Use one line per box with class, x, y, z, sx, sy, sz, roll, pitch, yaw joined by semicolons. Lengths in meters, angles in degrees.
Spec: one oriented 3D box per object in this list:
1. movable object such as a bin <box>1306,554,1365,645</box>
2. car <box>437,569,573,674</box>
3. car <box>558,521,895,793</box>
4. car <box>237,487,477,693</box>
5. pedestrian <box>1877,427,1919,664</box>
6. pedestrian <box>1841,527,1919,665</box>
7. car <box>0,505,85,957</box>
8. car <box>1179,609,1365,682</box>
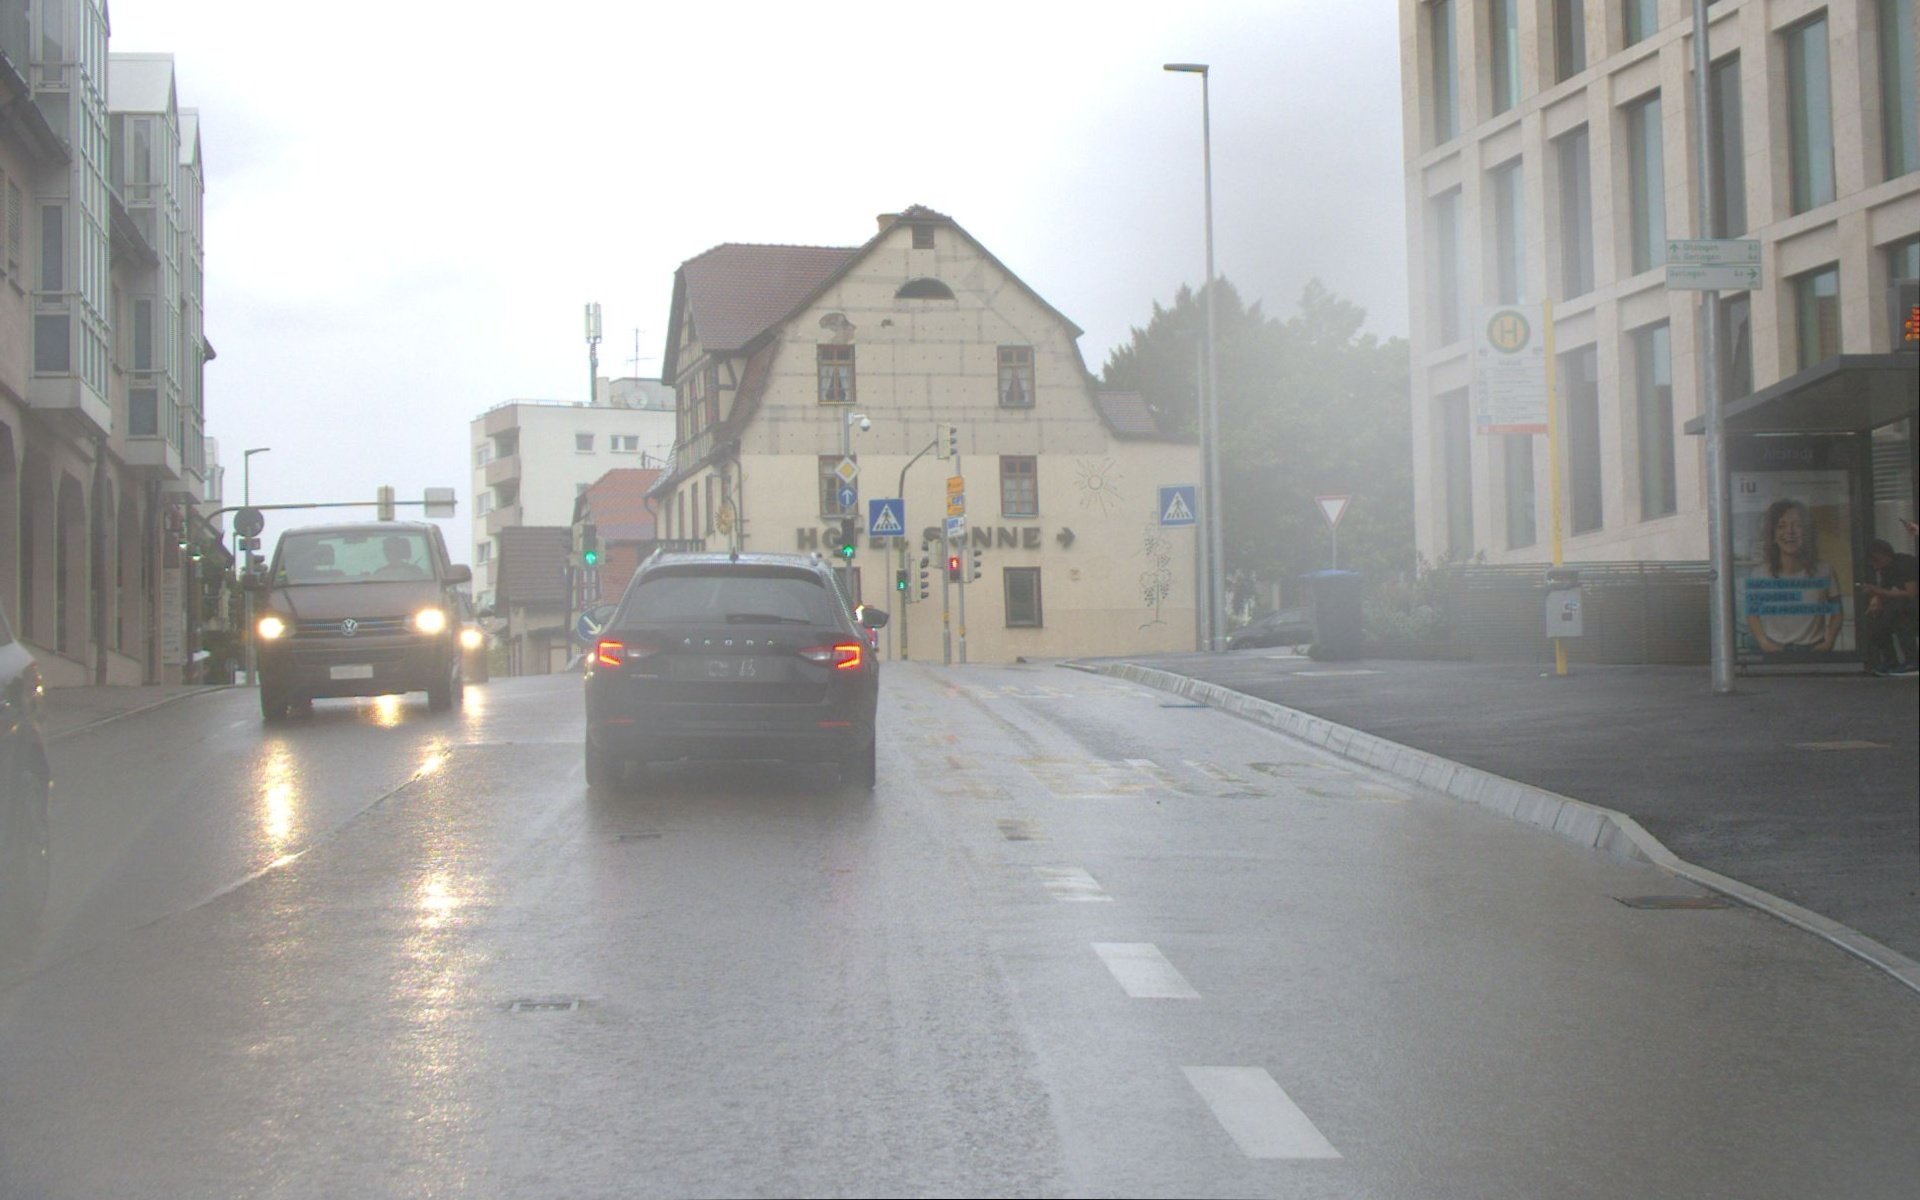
movable object such as a bin;4.469;-0.007;40.910;0.595;1.058;0.579;-2;0;-2
car;-6.609;0.283;50.242;1.687;1.439;3.910;-1;1;-4
car;-1.520;0.308;22.370;1.944;1.561;4.418;-1;1;-4
car;-6.144;-0.128;35.532;1.931;1.901;5.044;-3;1;-5
pedestrian;8.188;-0.463;28.508;0.782;1.933;1.021;-3;0;-1
pedestrian;8.085;-0.041;29.787;0.672;1.158;0.635;-3;0;-1
car;-4.451;0.513;12.256;1.782;1.688;4.460;-1;1;-4
car;7.987;1.169;88.050;4.301;1.500;1.778;-3;-5;-17
